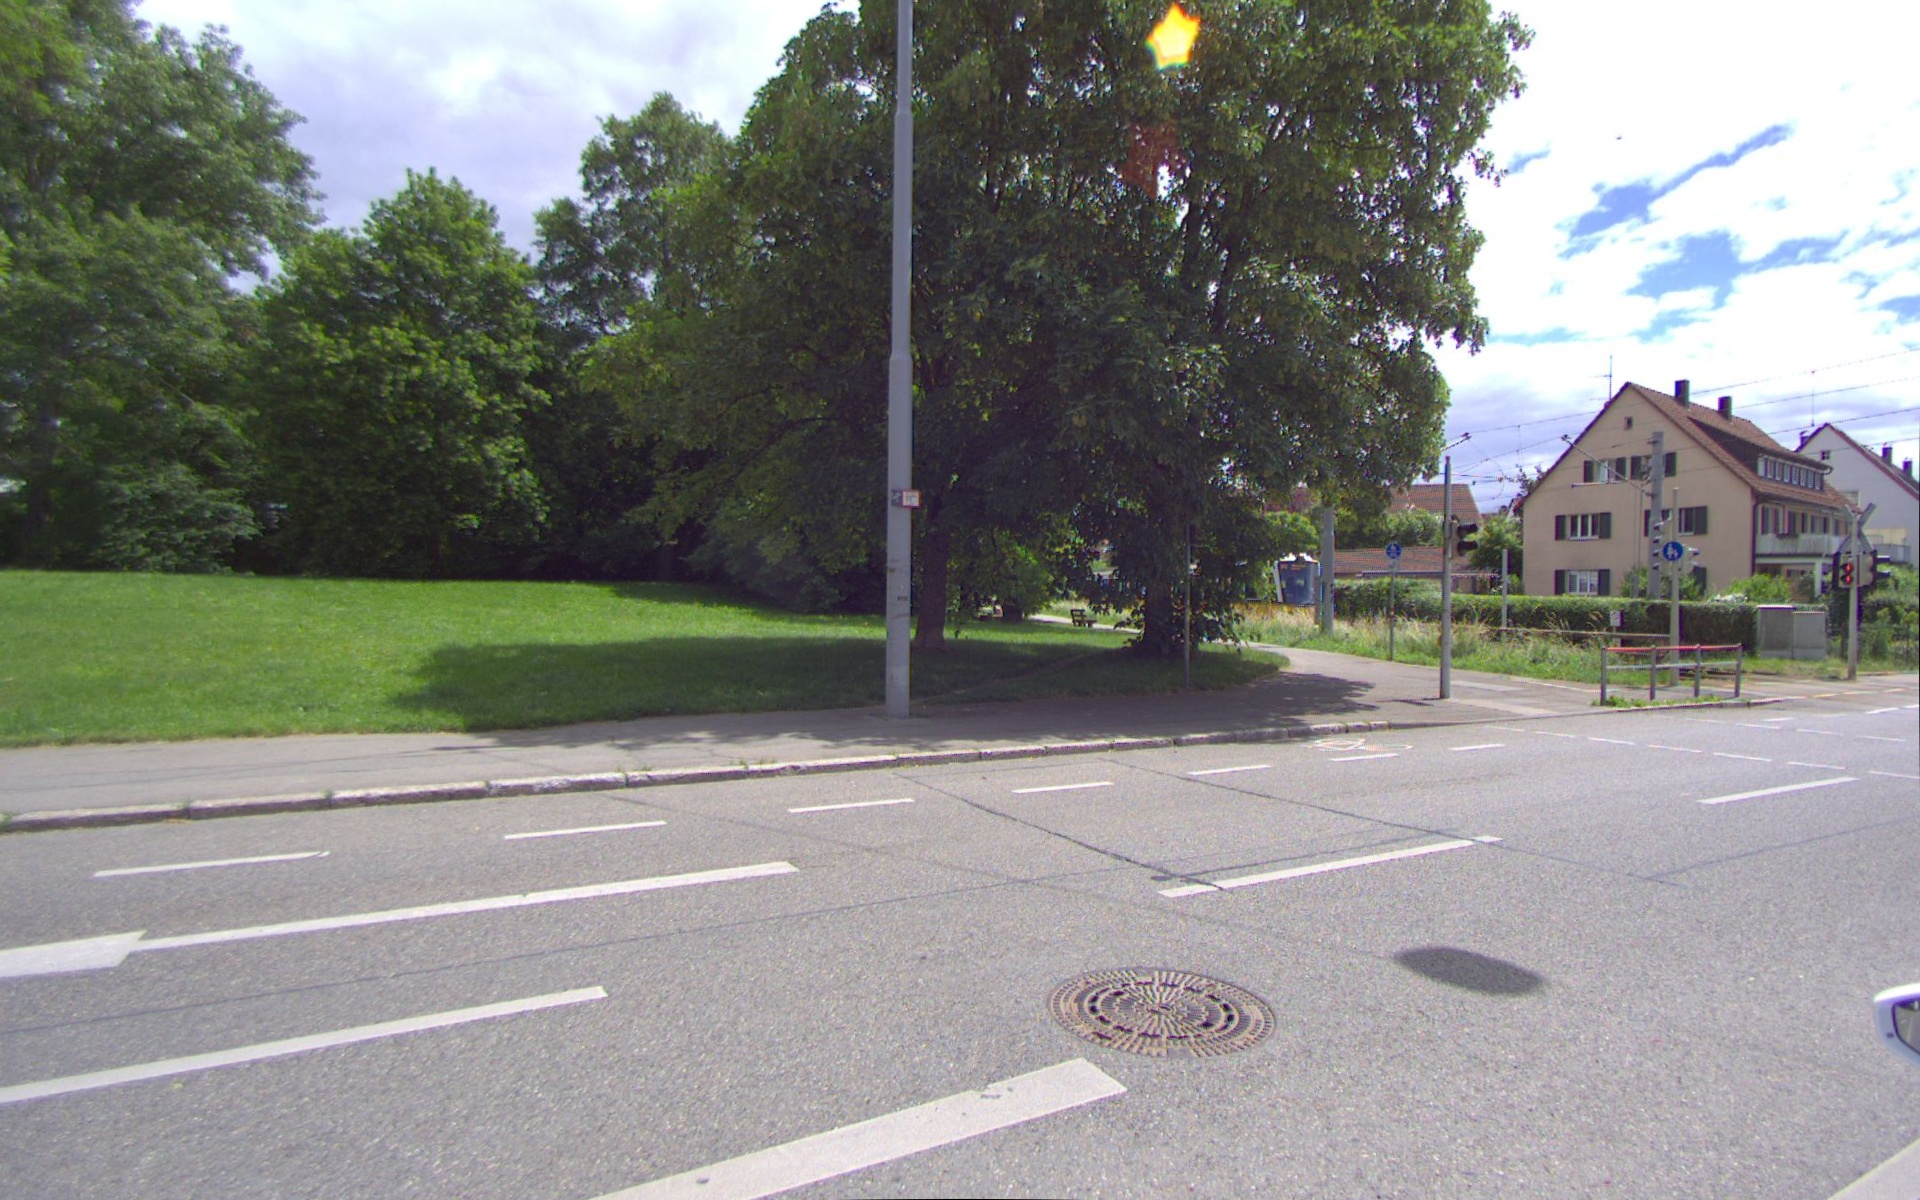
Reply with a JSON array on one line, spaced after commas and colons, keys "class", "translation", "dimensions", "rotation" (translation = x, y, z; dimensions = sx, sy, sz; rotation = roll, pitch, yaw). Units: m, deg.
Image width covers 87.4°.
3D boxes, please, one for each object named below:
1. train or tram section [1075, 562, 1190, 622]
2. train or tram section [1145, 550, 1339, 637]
[{"class": "train or tram section", "translation": [11.825, -0.599, 71.928], "dimensions": [2.864, 3.754, 19.098], "rotation": [1, 1, -6]}, {"class": "train or tram section", "translation": [13.961, -0.386, 52.965], "dimensions": [2.864, 3.754, 19.098], "rotation": [1, 1, -6]}]
